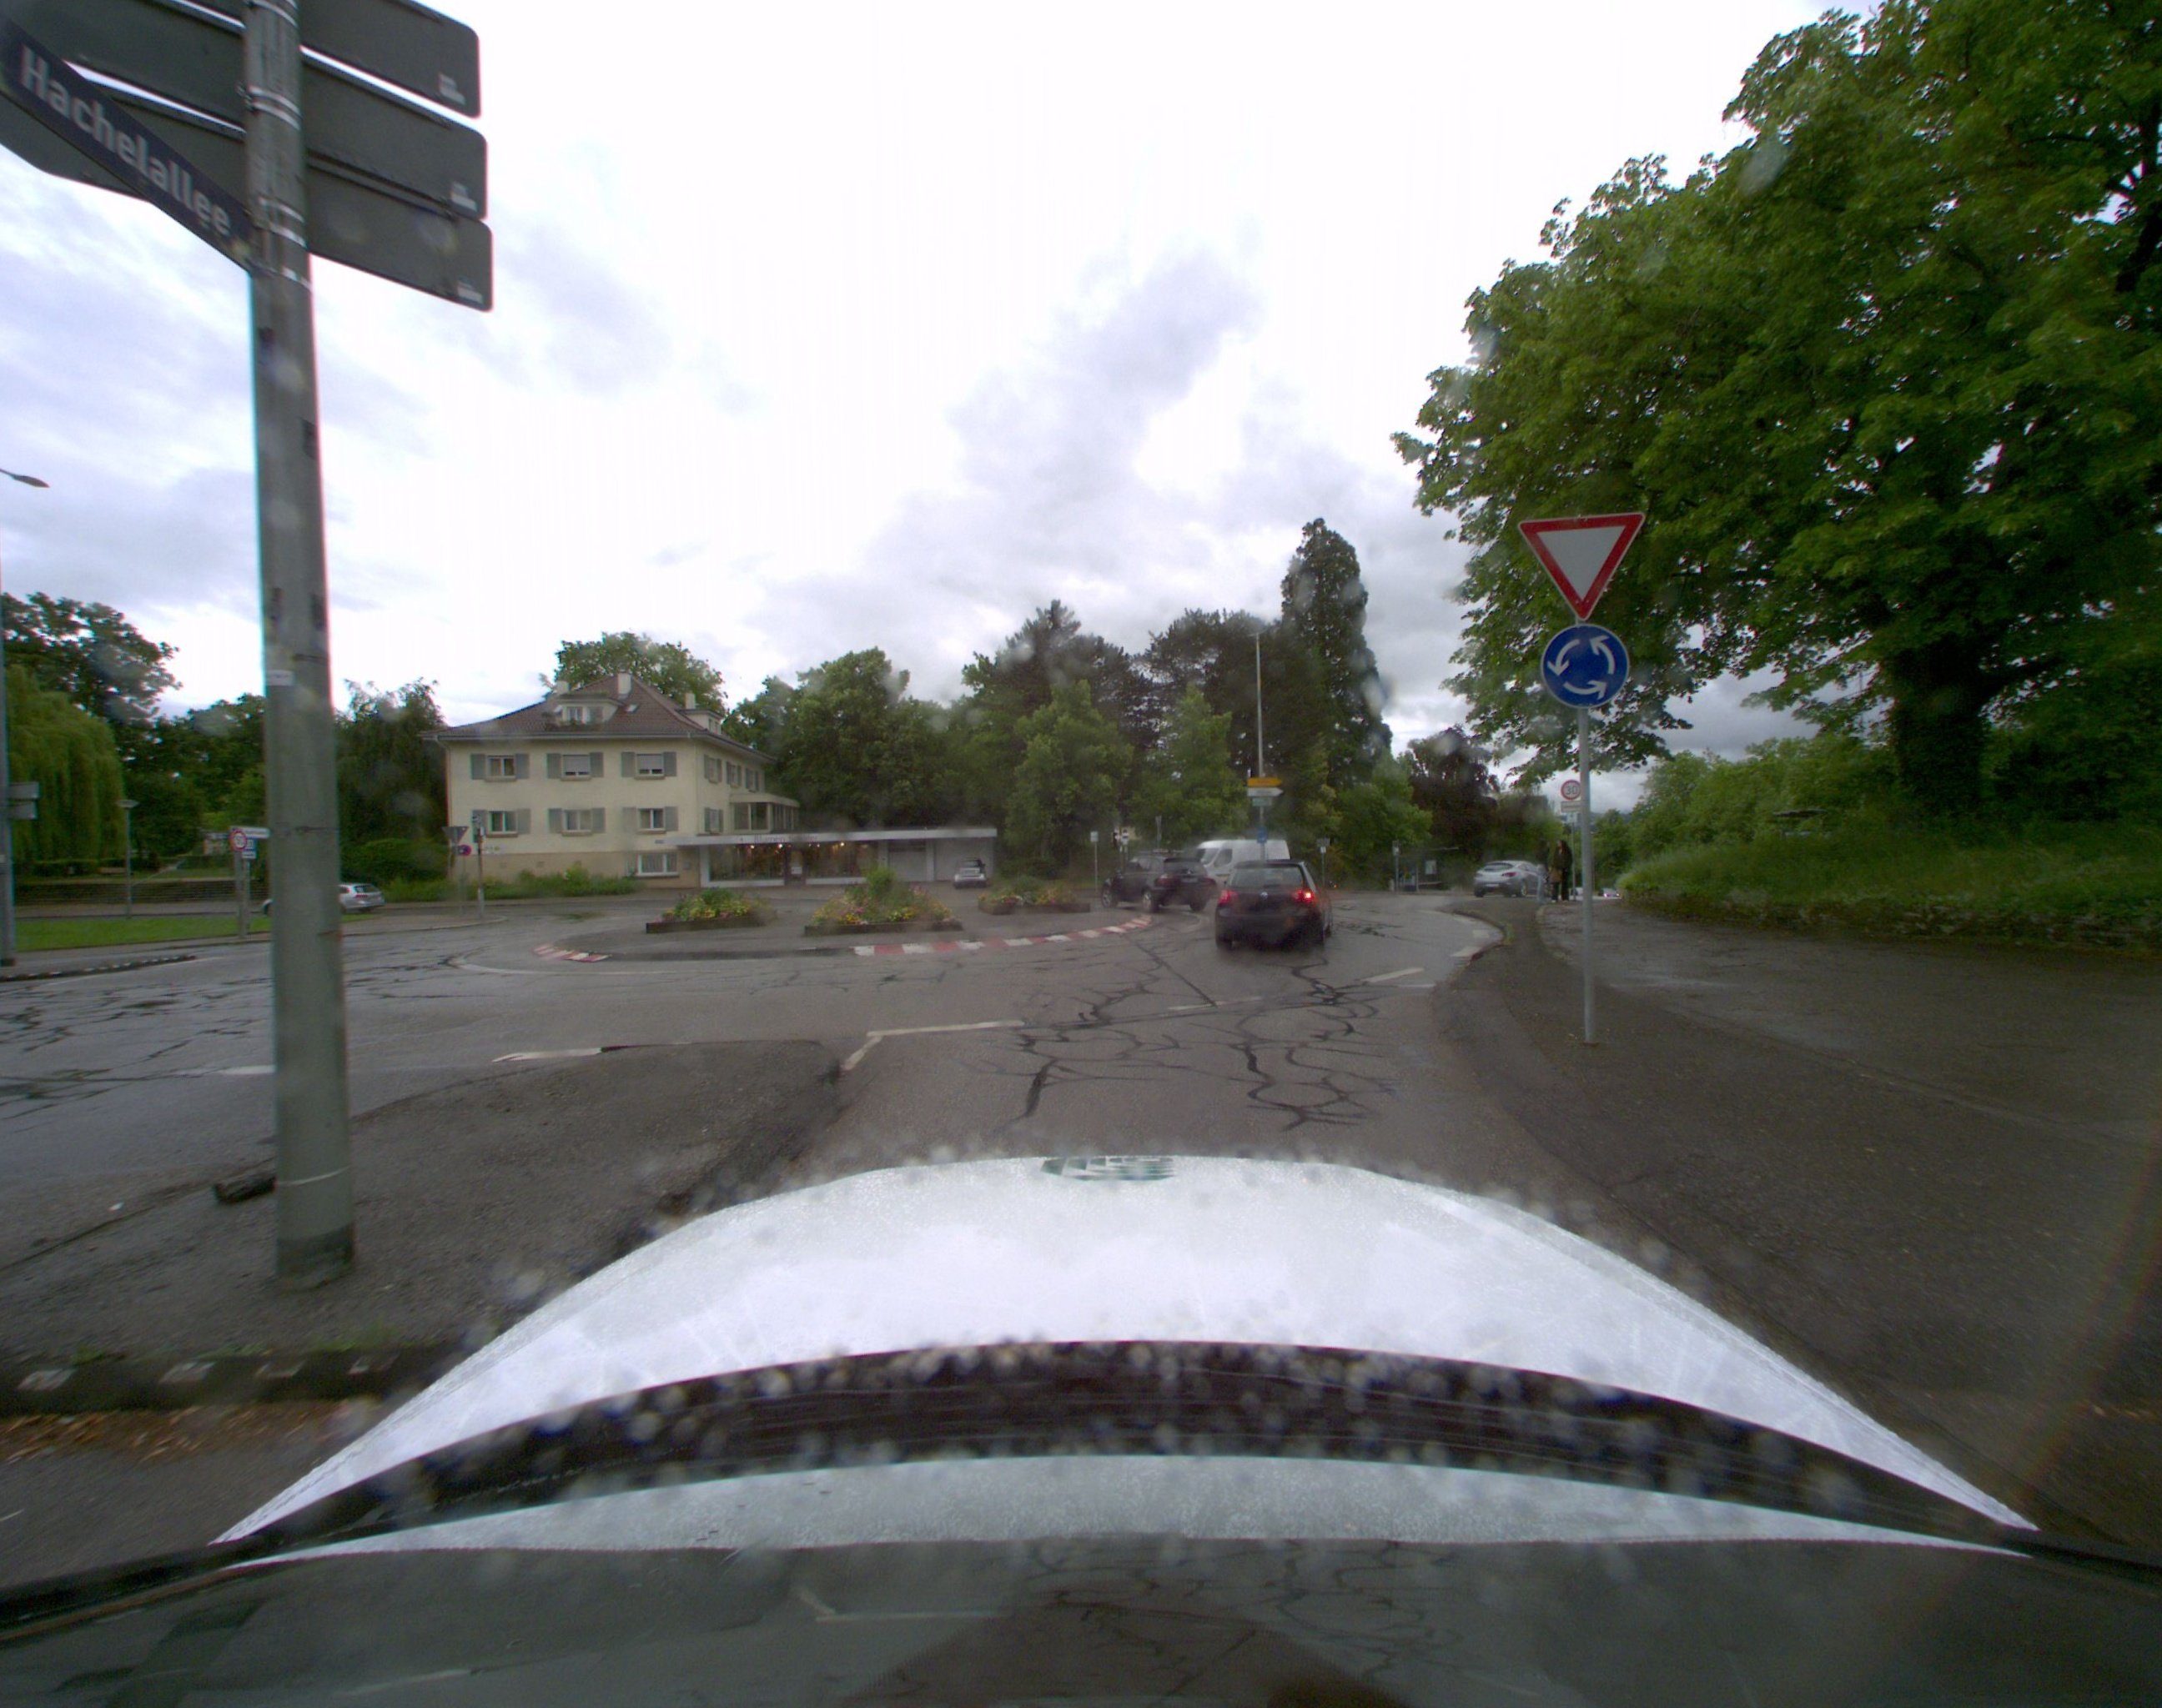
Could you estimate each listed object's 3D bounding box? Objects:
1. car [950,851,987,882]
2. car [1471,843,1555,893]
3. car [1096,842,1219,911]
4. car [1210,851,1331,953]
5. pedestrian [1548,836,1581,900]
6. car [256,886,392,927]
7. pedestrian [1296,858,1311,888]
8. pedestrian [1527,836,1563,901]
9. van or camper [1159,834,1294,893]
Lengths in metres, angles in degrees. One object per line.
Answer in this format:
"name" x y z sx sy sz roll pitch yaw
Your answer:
"car" -6.017 0.661 43.704 1.811 1.486 3.821 -2 0 -8
"car" 17.247 0.513 32.445 1.748 1.801 4.271 -3 -1 44
"car" 2.162 0.662 24.244 1.773 1.801 4.213 -2 -1 -23
"car" 3.490 0.715 14.448 1.751 1.538 4.019 0 0 18
"pedestrian" 13.187 0.375 22.227 0.629 1.713 0.532 0 -1 15
"car" -34.932 2.400 37.699 4.129 1.741 1.993 0 -1 -10
"pedestrian" 12.661 1.078 46.330 0.731 1.725 0.820 -1 -1 20
"pedestrian" 12.381 0.385 21.723 0.529 1.713 0.632 0 -1 -15
"van or camper" 6.337 0.422 35.343 5.684 2.378 2.180 0 -1 -29
